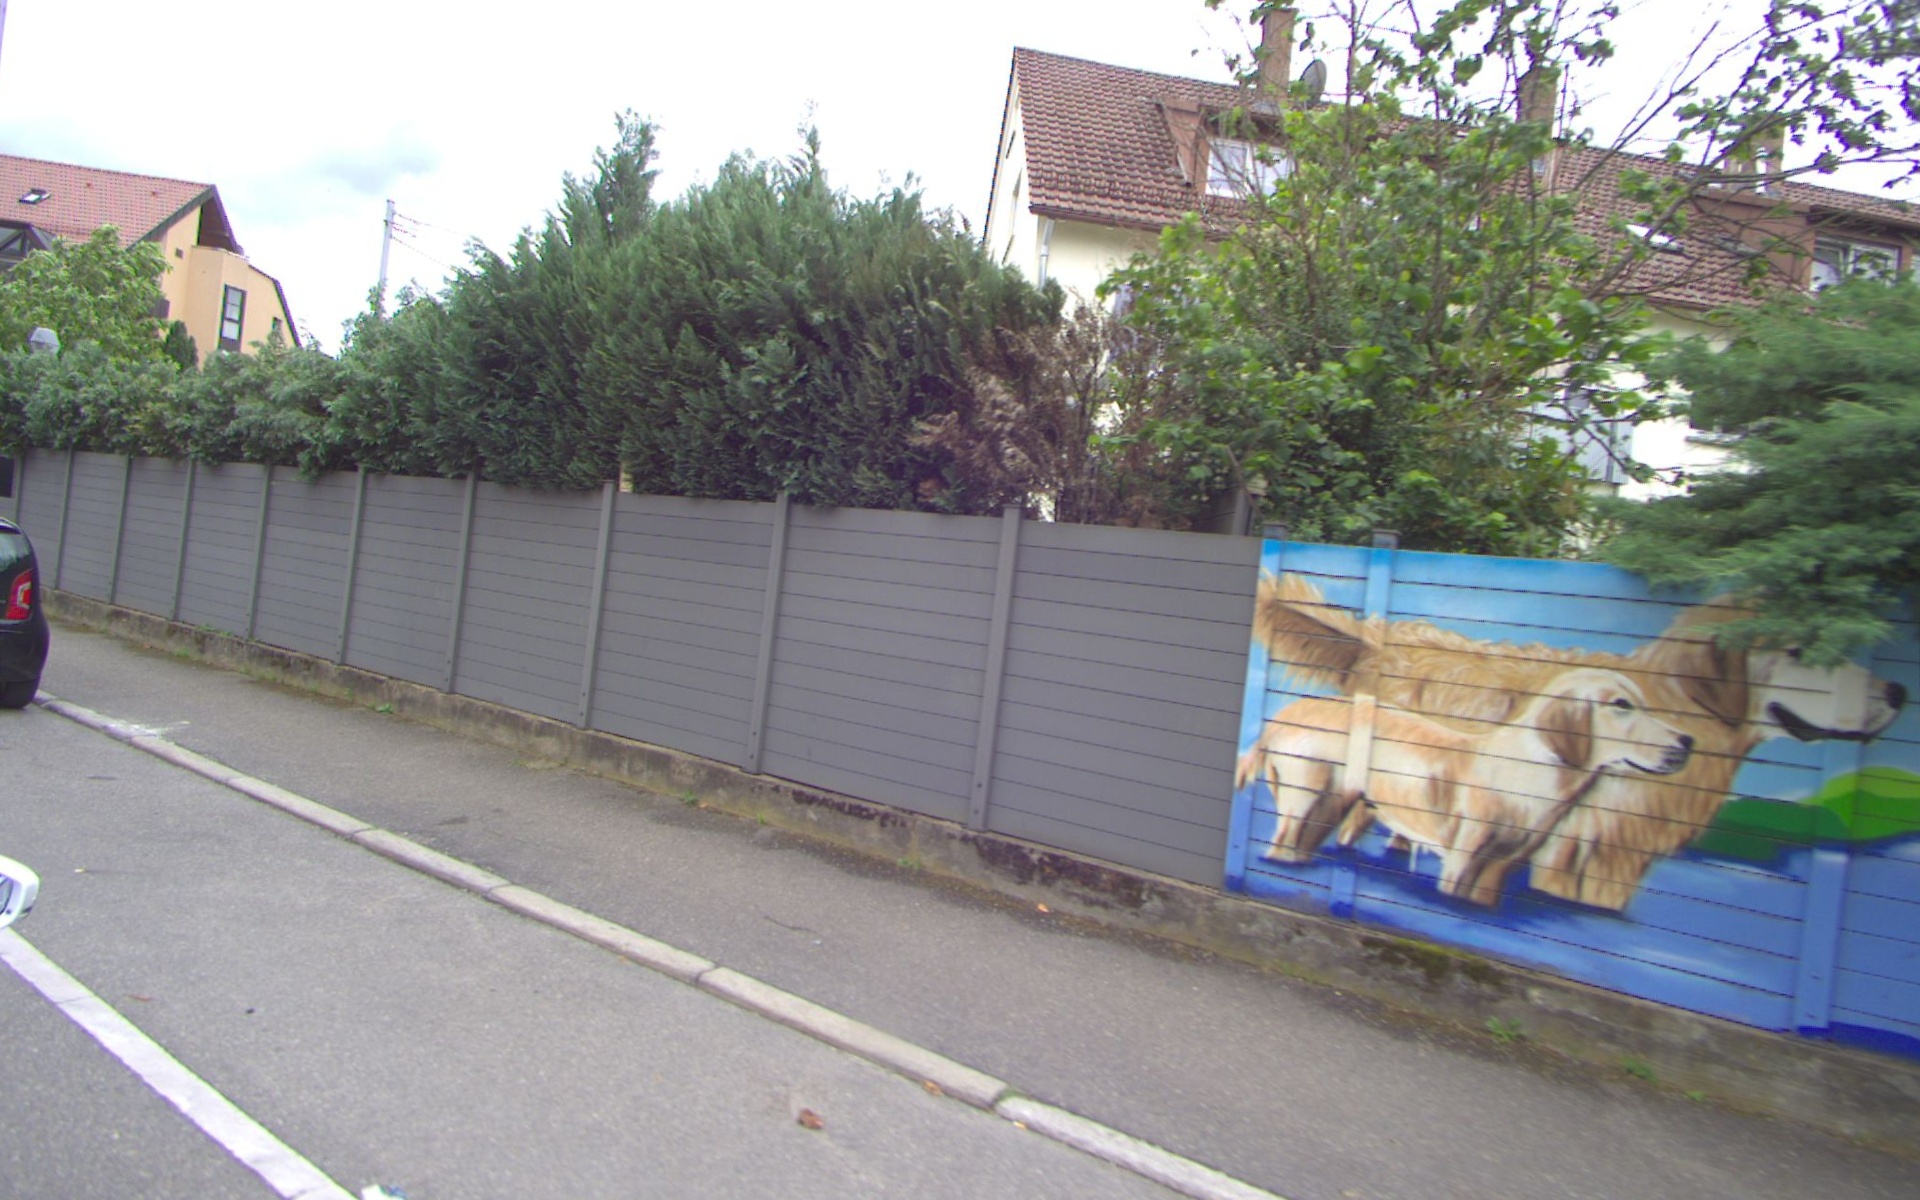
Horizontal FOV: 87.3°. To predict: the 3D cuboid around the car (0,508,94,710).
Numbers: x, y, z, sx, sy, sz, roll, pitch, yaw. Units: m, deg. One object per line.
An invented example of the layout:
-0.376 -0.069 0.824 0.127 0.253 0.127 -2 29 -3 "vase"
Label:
-8.893 -0.143 7.952 3.931 1.469 1.762 6 -1 29 "car"
